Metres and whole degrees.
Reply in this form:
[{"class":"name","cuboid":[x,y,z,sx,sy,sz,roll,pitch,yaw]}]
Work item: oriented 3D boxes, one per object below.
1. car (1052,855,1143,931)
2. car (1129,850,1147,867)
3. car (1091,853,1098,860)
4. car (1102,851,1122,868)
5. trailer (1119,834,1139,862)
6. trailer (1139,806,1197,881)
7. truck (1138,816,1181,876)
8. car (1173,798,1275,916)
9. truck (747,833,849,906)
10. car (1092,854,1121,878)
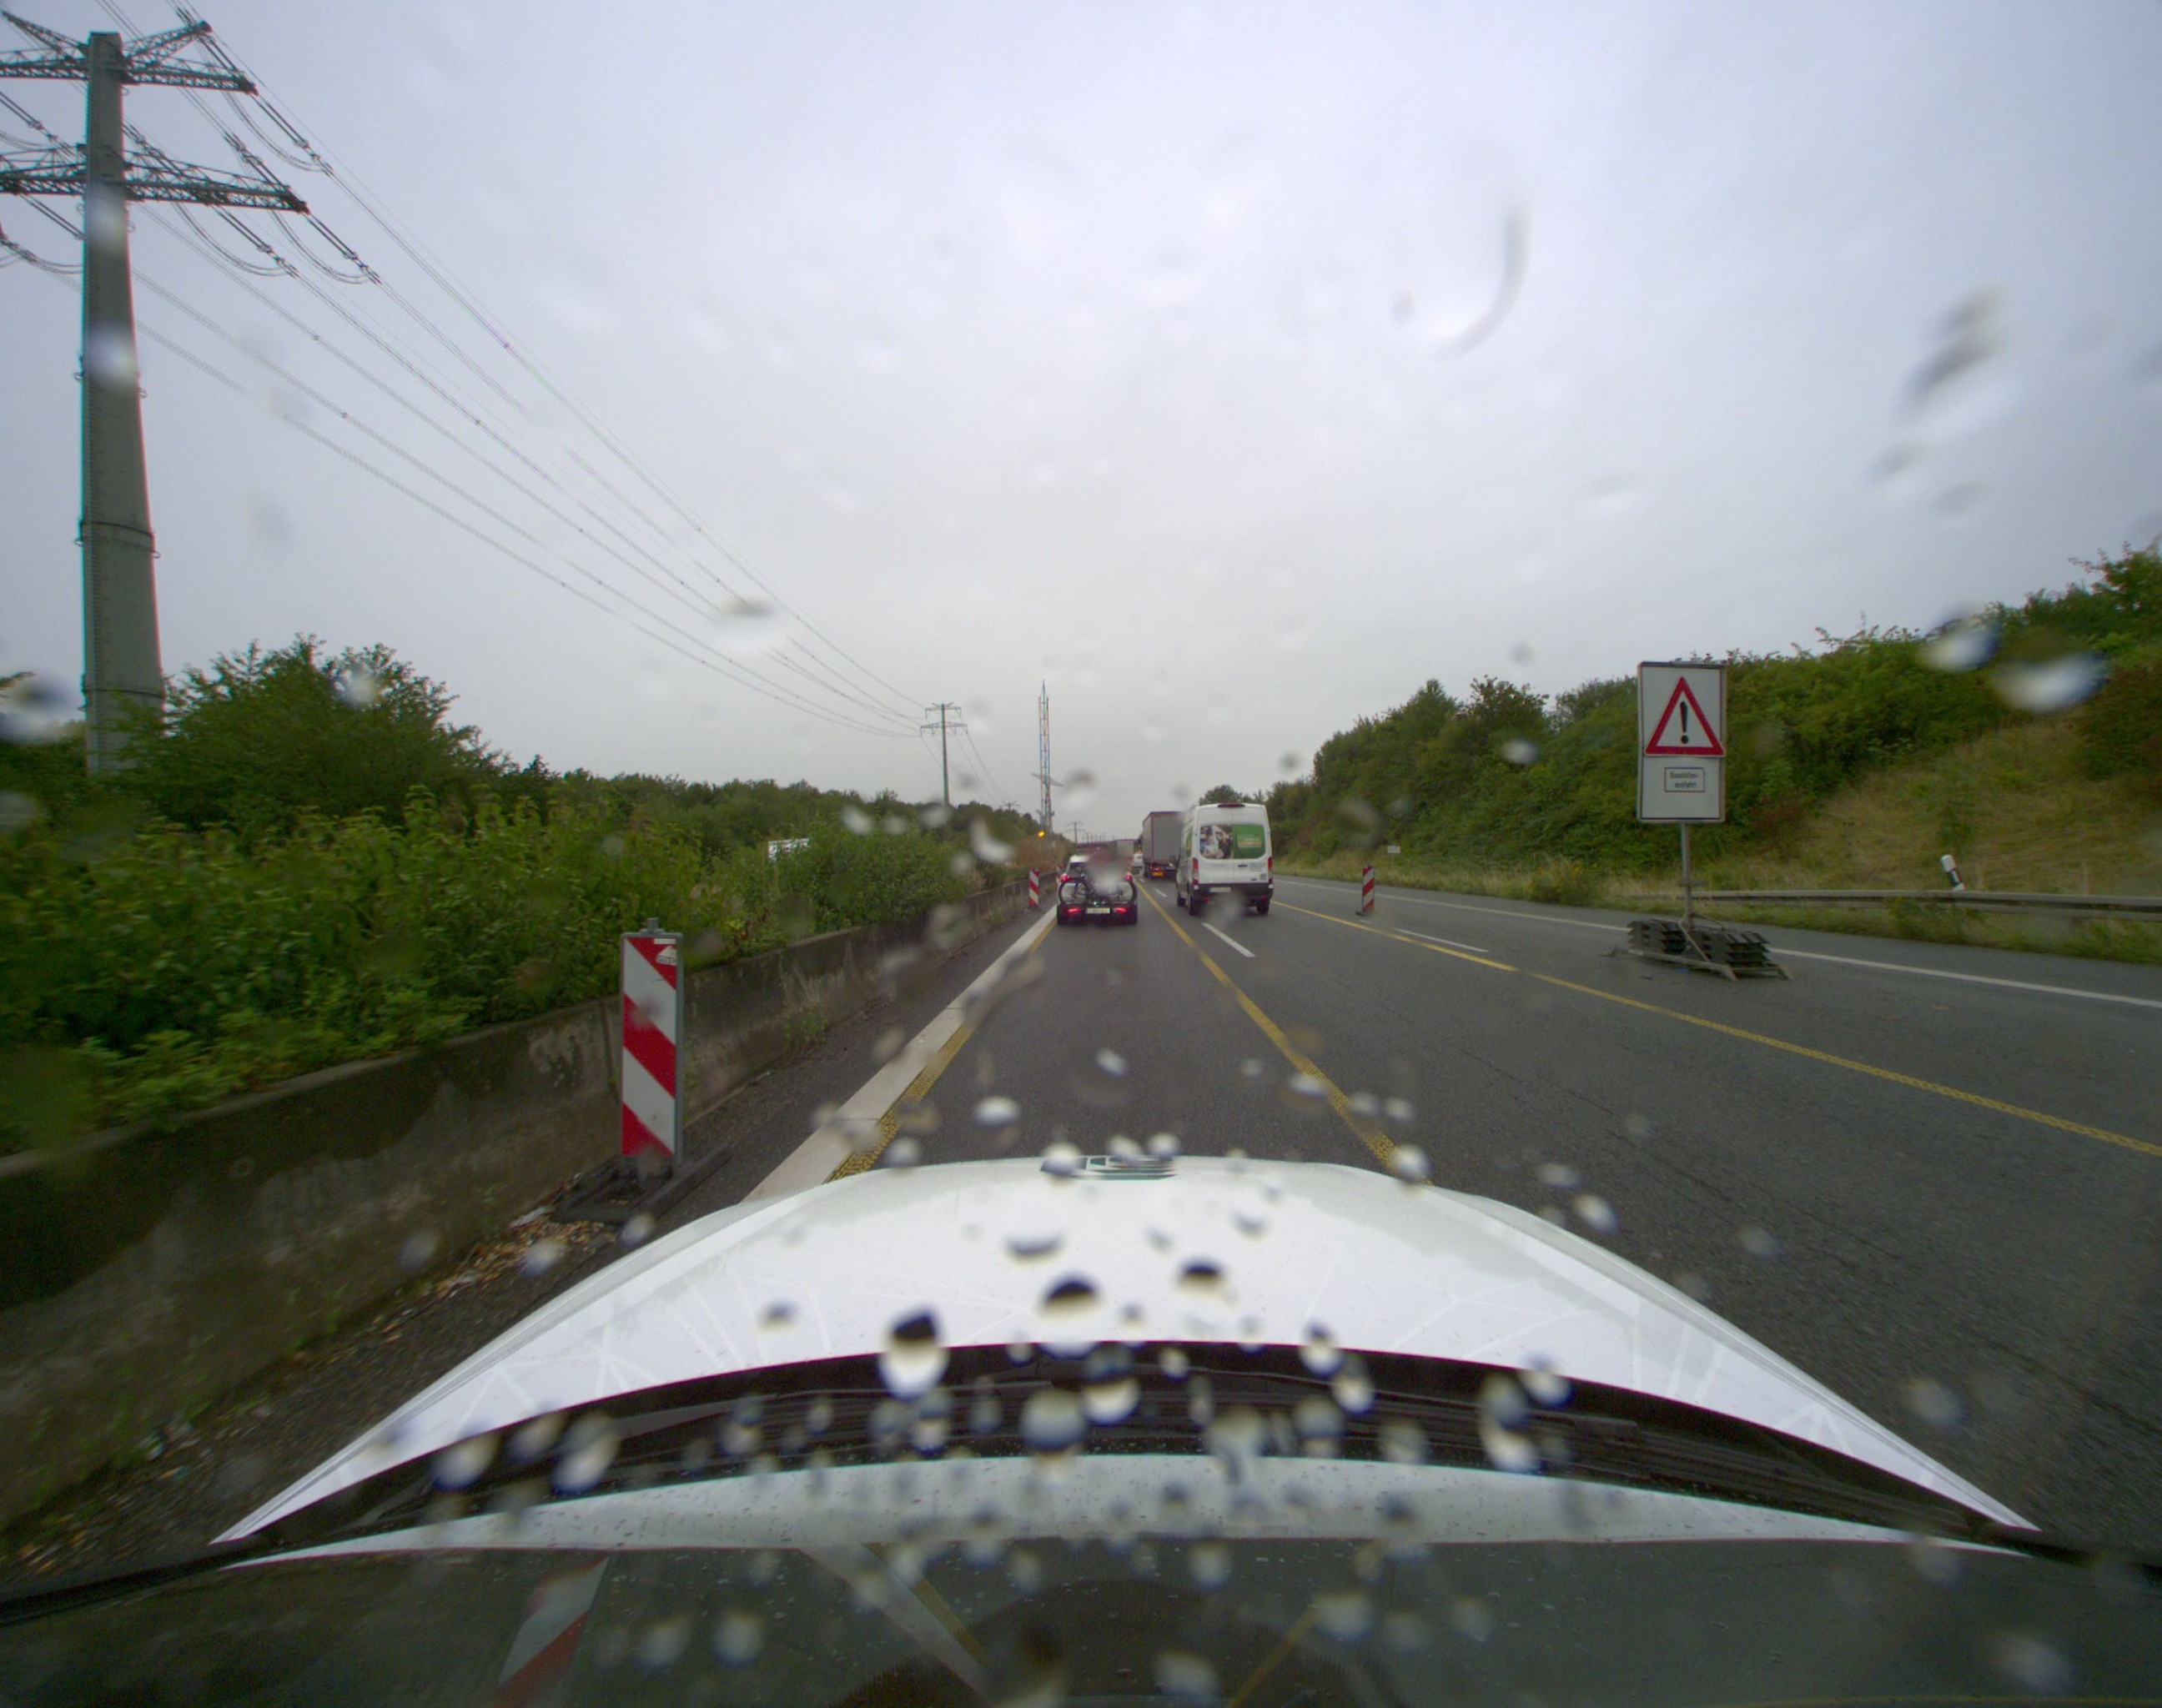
[{"class":"car","cuboid":[0.408,0.801,19.043,1.843,1.531,4.770,-1,0,2]},{"class":"car","cuboid":[6.520,0.487,92.797,1.822,1.839,4.657,-1,0,2]},{"class":"car","cuboid":[4.259,0.662,253.653,1.924,1.973,4.002,-1,1,1]},{"class":"car","cuboid":[2.956,0.524,77.909,1.843,1.531,4.001,-1,0,2]},{"class":"trailer","cuboid":[7.512,-0.897,129.595,2.682,4.076,13.638,-1,0,2]},{"class":"trailer","cuboid":[5.351,-0.571,52.431,2.696,4.146,13.738,-1,0,2]},{"class":"truck","cuboid":[5.640,-0.546,59.156,2.696,4.138,5.692,-1,0,2]},{"class":"car","cuboid":[3.744,0.081,22.364,1.985,2.783,5.760,-1,0,3]},{"class":"truck","cuboid":[-14.124,0.745,41.249,2.252,3.227,7.055,-5,-1,2]},{"class":"car","cuboid":[1.728,0.787,54.773,1.843,1.531,4.001,-1,0,2]}]
